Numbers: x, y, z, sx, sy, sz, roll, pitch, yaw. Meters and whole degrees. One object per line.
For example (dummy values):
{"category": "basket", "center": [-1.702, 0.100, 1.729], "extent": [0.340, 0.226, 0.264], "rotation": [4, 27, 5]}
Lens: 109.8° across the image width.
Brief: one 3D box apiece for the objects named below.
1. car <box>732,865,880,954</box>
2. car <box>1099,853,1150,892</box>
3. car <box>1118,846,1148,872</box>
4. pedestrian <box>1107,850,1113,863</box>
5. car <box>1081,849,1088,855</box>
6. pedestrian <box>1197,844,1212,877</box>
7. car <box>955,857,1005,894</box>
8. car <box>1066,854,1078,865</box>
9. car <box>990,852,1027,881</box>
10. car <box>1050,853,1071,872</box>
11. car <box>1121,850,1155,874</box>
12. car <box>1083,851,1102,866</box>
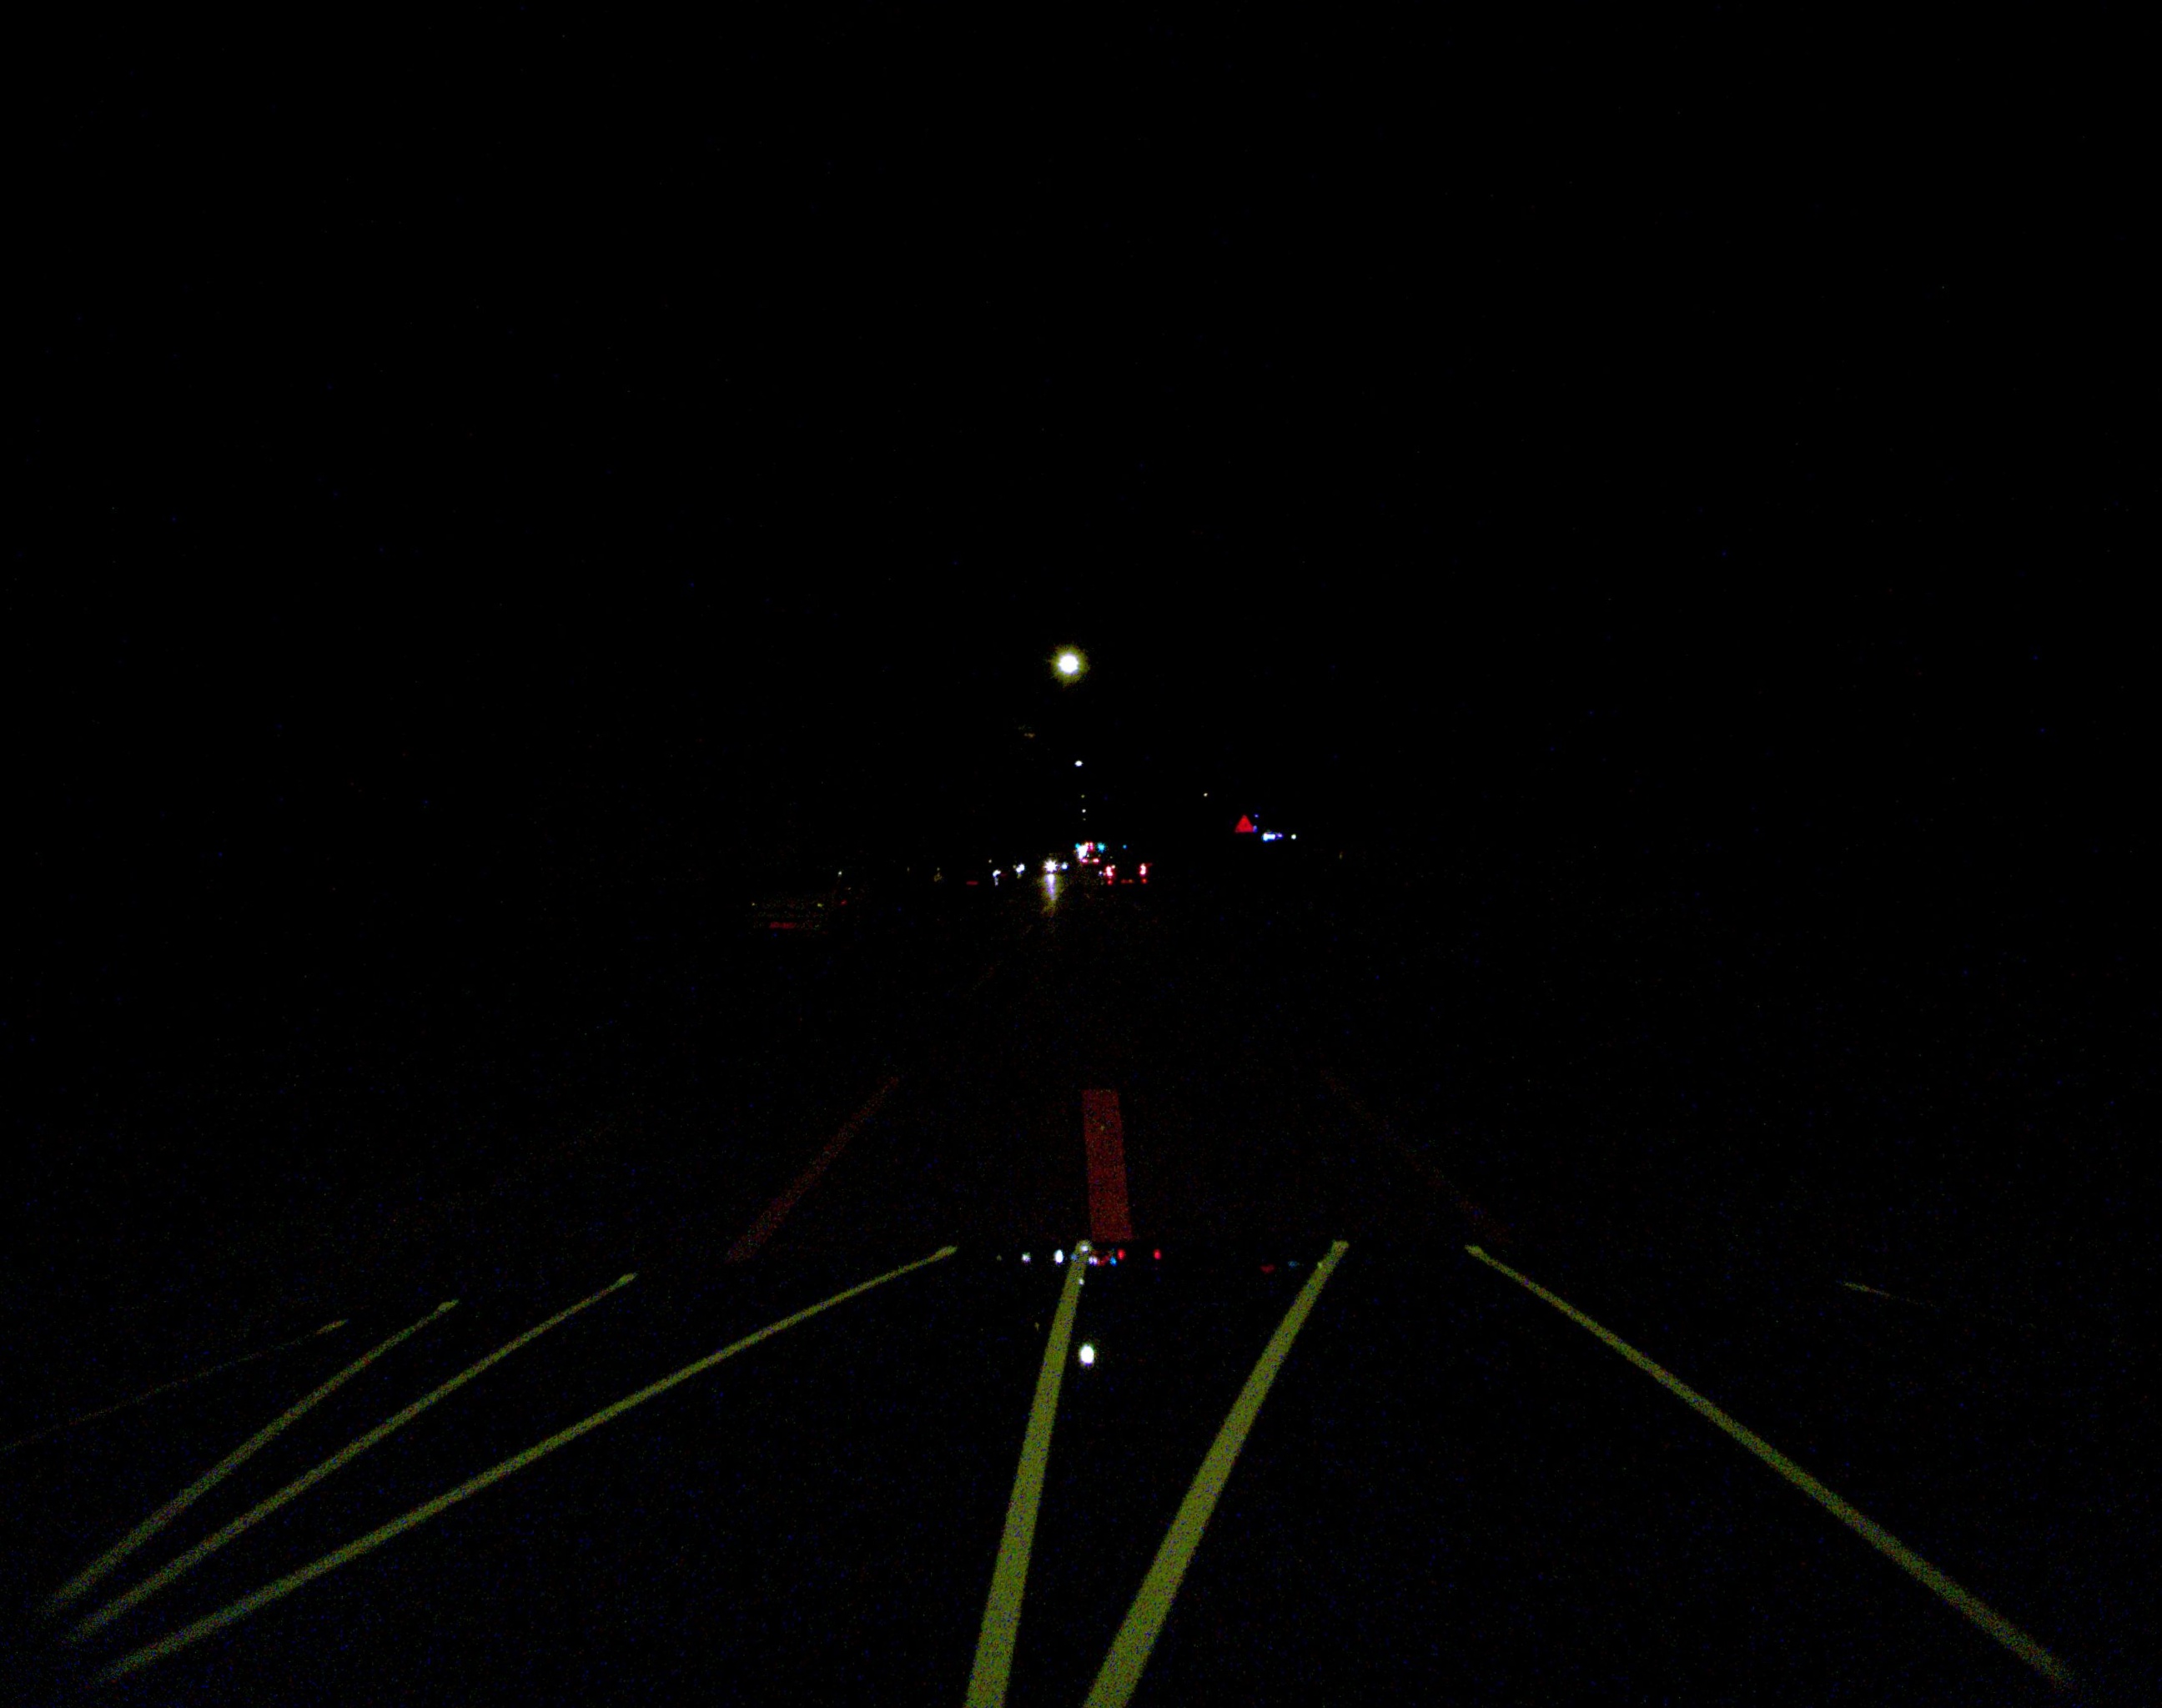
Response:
{"category": "car", "center": [-5.273, 1.005, 15.043], "extent": [1.611, 1.500, 3.486], "rotation": [0, 0, 1]}
{"category": "car", "center": [1.708, 0.789, 30.843], "extent": [1.755, 1.433, 3.487], "rotation": [-2, -2, -2]}
{"category": "car", "center": [3.867, 0.333, 56.928], "extent": [1.998, 1.772, 3.999], "rotation": [-2, 1, 1]}
{"category": "pedestrian", "center": [4.529, 0.414, 118.151], "extent": [0.804, 2.002, 0.940], "rotation": [-2, 1, 1]}
{"category": "car", "center": [1.158, -0.652, 248.333], "extent": [1.998, 1.740, 3.999], "rotation": [-2, 1, 1]}
{"category": "pedestrian", "center": [6.528, 0.334, 40.275], "extent": [0.673, 1.750, 0.500], "rotation": [-2, 1, 1]}
{"category": "car", "center": [-4.468, 0.903, 33.942], "extent": [1.742, 1.489, 3.890], "rotation": [-1, 0, -1]}
{"category": "car", "center": [-1.535, 1.002, 134.349], "extent": [1.998, 1.718, 3.803], "rotation": [-2, 1, 1]}
{"category": "car", "center": [-4.458, 0.749, 47.475], "extent": [1.852, 1.643, 4.179], "rotation": [-2, 0, 0]}
{"category": "car", "center": [-1.813, 0.718, 66.879], "extent": [1.780, 1.477, 3.999], "rotation": [-2, 1, -1]}
{"category": "car", "center": [3.892, 0.513, 52.075], "extent": [1.998, 1.477, 3.999], "rotation": [-3, 1, 1]}
{"category": "car", "center": [1.329, 0.519, 87.915], "extent": [1.903, 1.581, 3.661], "rotation": [-2, 1, 4]}
